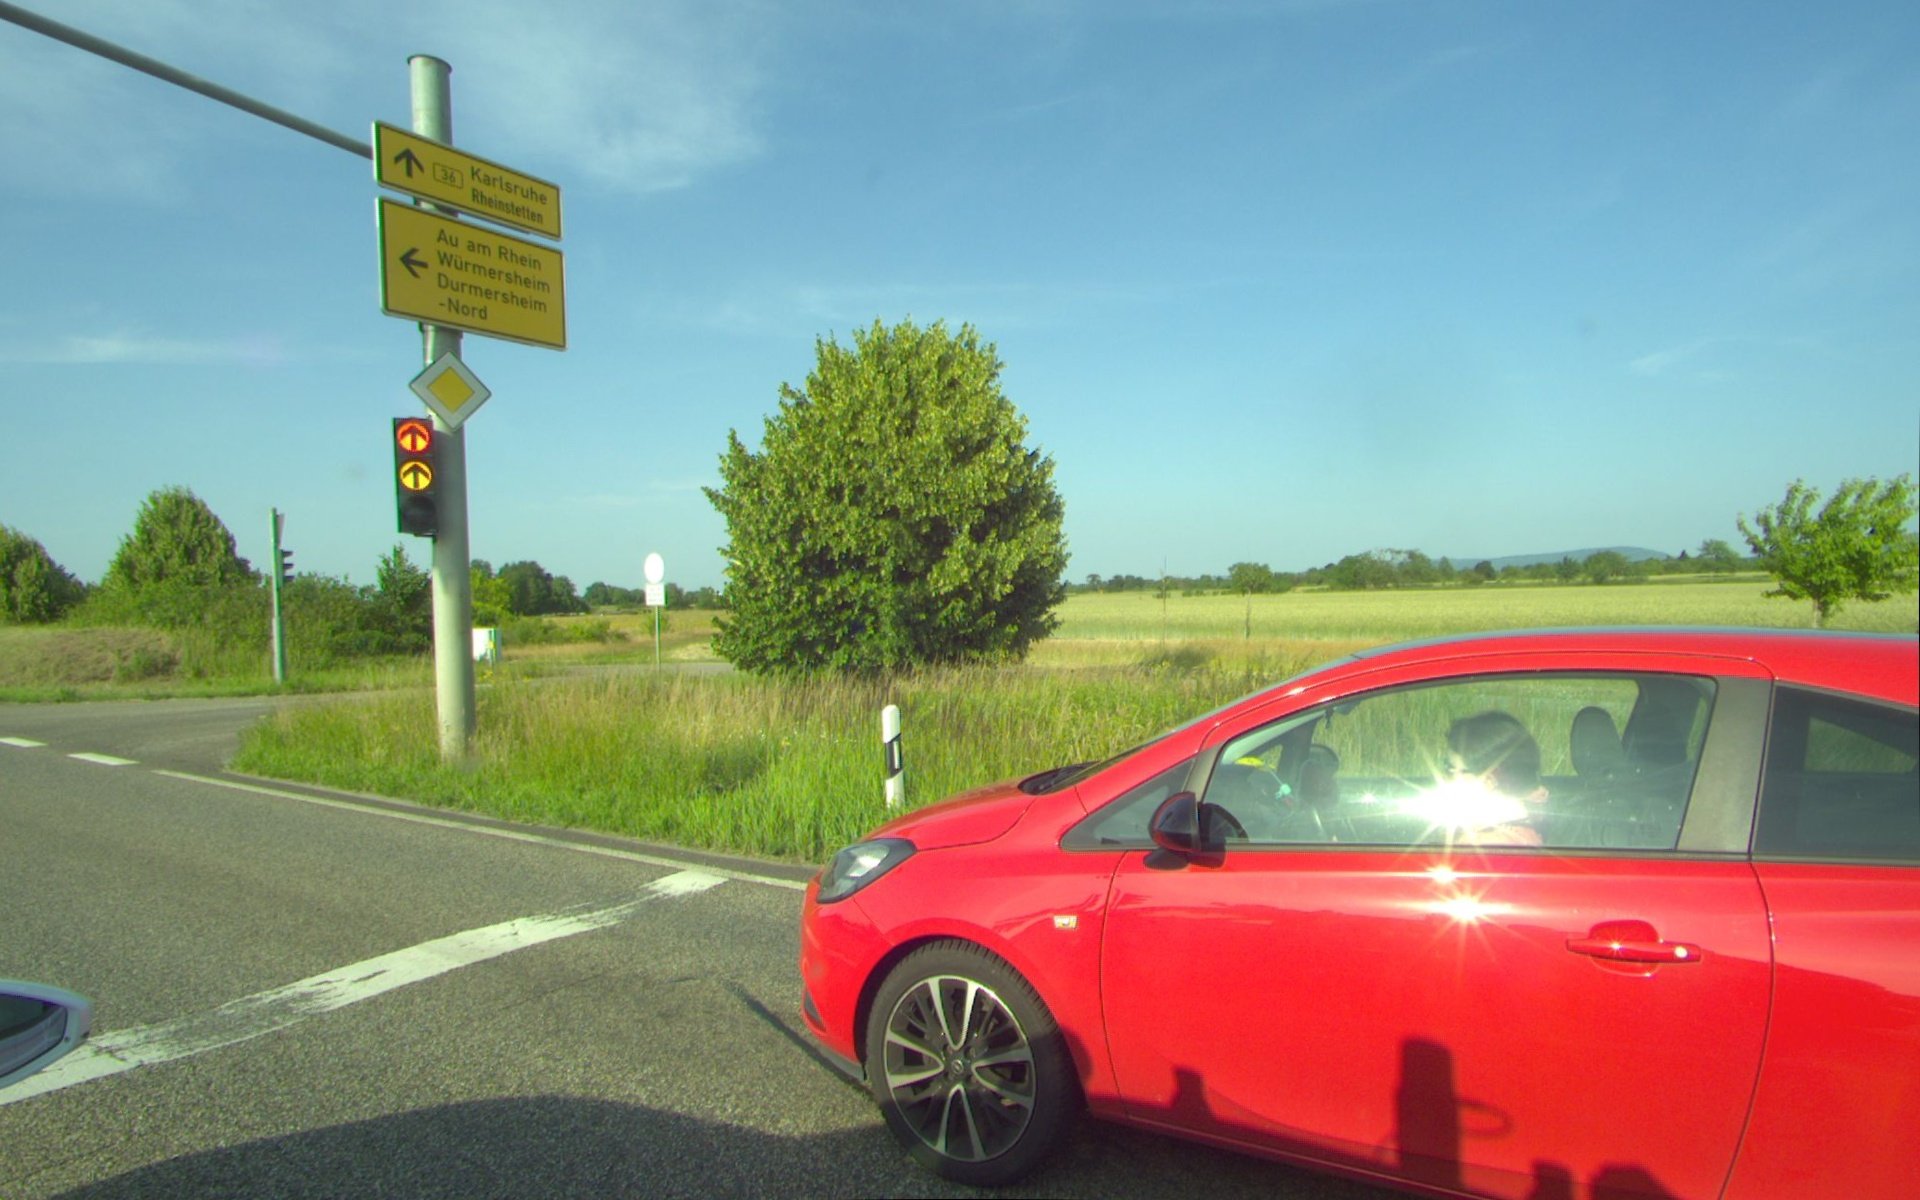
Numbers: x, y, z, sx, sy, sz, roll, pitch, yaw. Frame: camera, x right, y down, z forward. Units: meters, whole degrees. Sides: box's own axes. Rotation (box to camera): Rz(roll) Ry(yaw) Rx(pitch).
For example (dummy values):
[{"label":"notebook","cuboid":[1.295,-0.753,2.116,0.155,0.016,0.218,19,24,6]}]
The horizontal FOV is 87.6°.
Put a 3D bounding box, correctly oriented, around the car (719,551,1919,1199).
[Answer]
[{"label":"car","cuboid":[1.304,0.720,2.836,3.693,1.569,1.695,-1,0,29]}]
